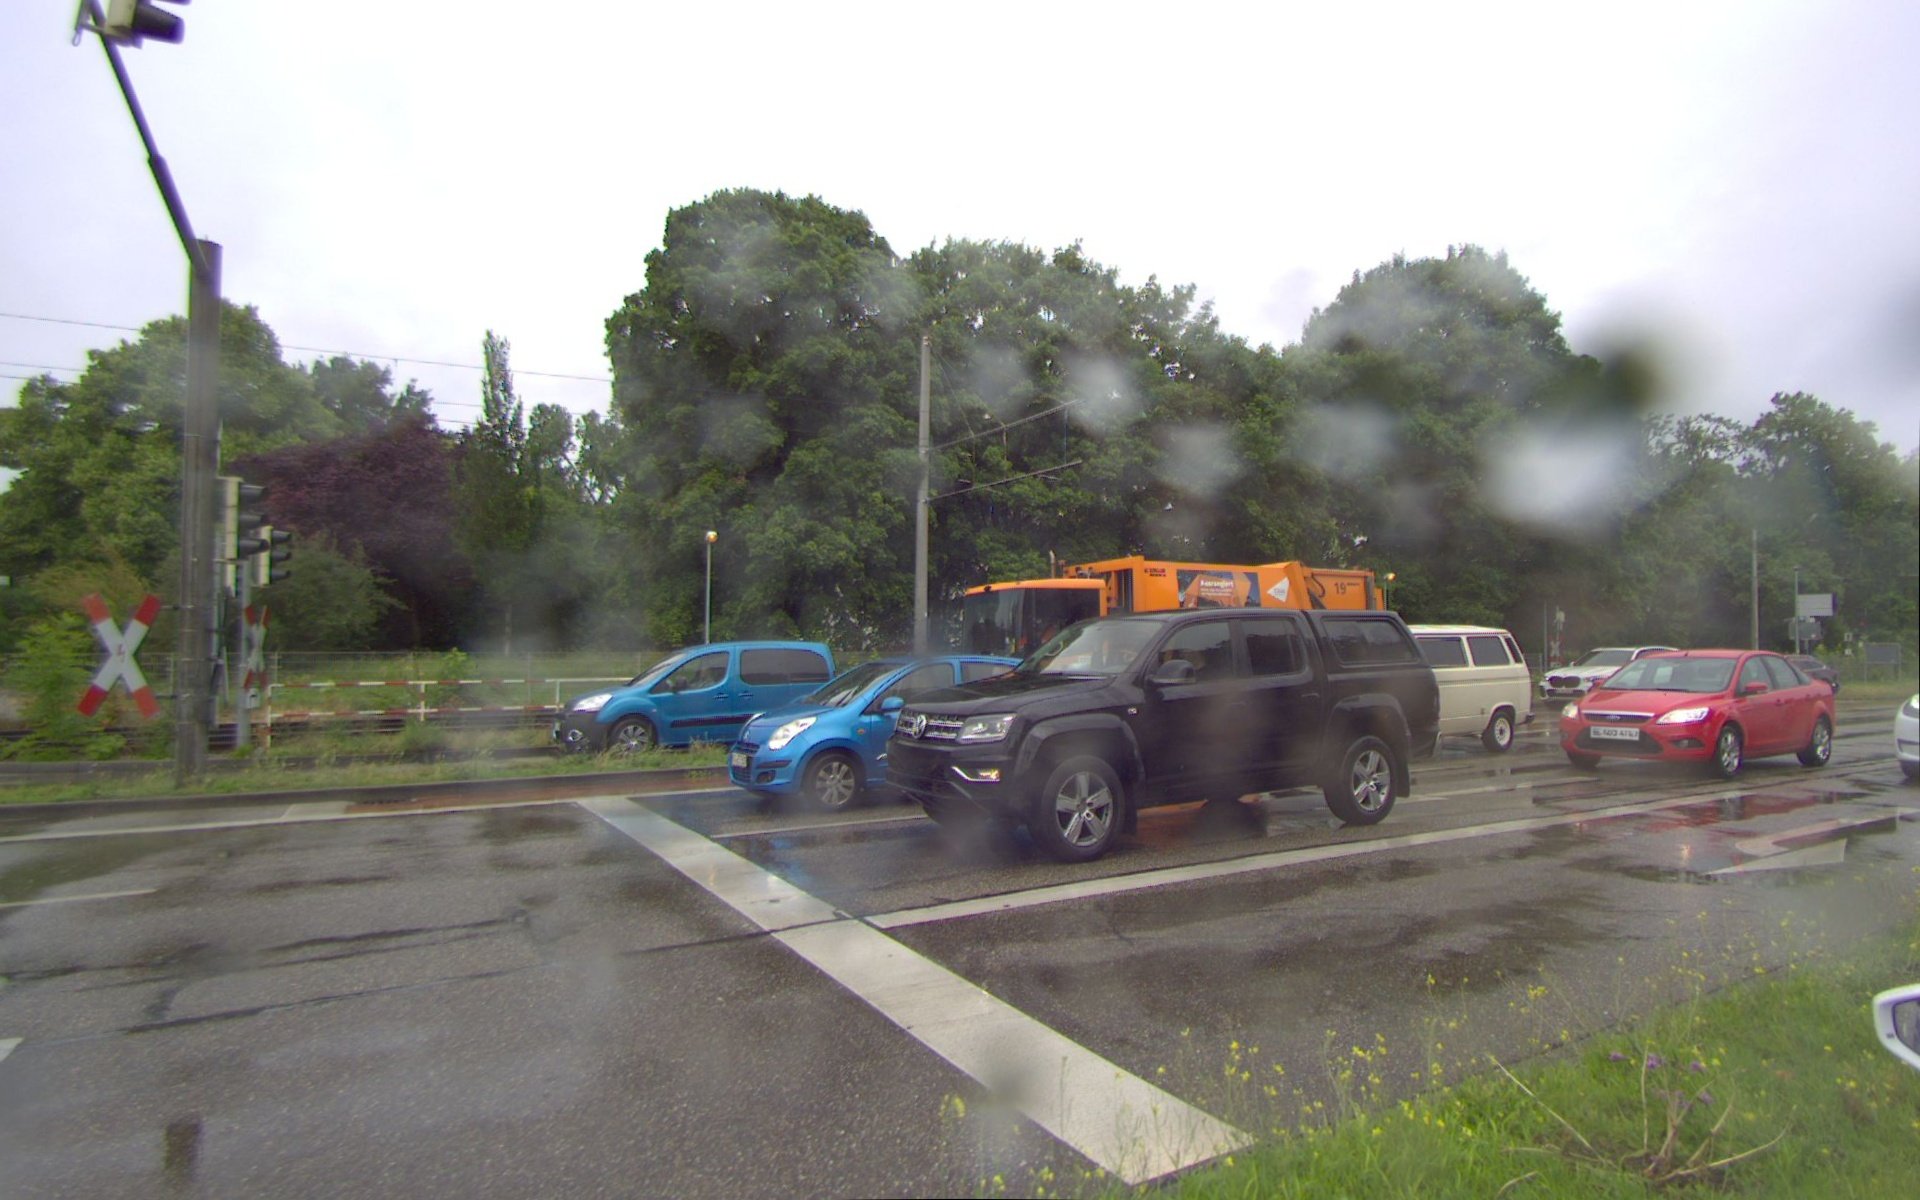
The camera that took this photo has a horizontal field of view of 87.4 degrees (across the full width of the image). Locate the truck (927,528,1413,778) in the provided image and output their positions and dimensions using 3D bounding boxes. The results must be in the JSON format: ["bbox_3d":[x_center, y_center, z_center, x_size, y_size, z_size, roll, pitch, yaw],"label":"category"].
[{"bbox_3d":[4.675,1.089,21.019,10.284,4.222,3.369,2,-1,-30],"label":"truck"}]

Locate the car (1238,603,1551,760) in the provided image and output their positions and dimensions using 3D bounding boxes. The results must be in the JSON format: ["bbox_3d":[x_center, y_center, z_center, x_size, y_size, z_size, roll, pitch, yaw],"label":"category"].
[{"bbox_3d":[6.597,1.154,15.155,4.686,2.044,1.920,1,-3,-30],"label":"car"}]

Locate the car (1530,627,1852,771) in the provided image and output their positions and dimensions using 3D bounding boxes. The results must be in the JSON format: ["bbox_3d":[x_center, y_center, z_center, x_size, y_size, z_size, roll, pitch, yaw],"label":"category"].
[{"bbox_3d":[9.556,1.242,13.061,4.378,1.589,1.792,3,-4,-31],"label":"car"}]

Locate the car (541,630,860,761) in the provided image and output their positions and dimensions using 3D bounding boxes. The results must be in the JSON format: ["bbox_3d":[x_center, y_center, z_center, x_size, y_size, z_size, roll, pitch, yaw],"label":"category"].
[{"bbox_3d":[-4.037,1.420,15.748,4.472,1.732,1.985,2,-1,-29],"label":"car"}]

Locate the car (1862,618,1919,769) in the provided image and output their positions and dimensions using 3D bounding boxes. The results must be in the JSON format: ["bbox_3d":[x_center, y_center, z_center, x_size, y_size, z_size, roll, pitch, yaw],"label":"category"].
[{"bbox_3d":[12.681,1.055,11.675,4.642,1.638,1.952,2,-3,-30],"label":"car"}]

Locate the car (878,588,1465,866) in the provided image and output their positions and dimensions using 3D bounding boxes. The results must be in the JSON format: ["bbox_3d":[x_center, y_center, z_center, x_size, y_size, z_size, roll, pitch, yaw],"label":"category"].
[{"bbox_3d":[1.943,0.937,8.589,5.030,1.796,1.797,2,-4,-31],"label":"car"}]

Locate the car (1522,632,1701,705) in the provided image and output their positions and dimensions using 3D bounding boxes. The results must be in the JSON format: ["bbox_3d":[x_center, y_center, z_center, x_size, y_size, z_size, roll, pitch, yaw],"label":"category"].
[{"bbox_3d":[18.287,1.903,28.178,4.707,1.852,1.988,2,-1,-25],"label":"car"}]

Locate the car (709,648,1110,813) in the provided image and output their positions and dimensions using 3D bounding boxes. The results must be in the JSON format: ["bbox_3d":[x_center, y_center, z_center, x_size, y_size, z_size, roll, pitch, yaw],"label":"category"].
[{"bbox_3d":[-0.458,1.276,10.608,3.956,1.446,1.632,2,-5,-32],"label":"car"}]
